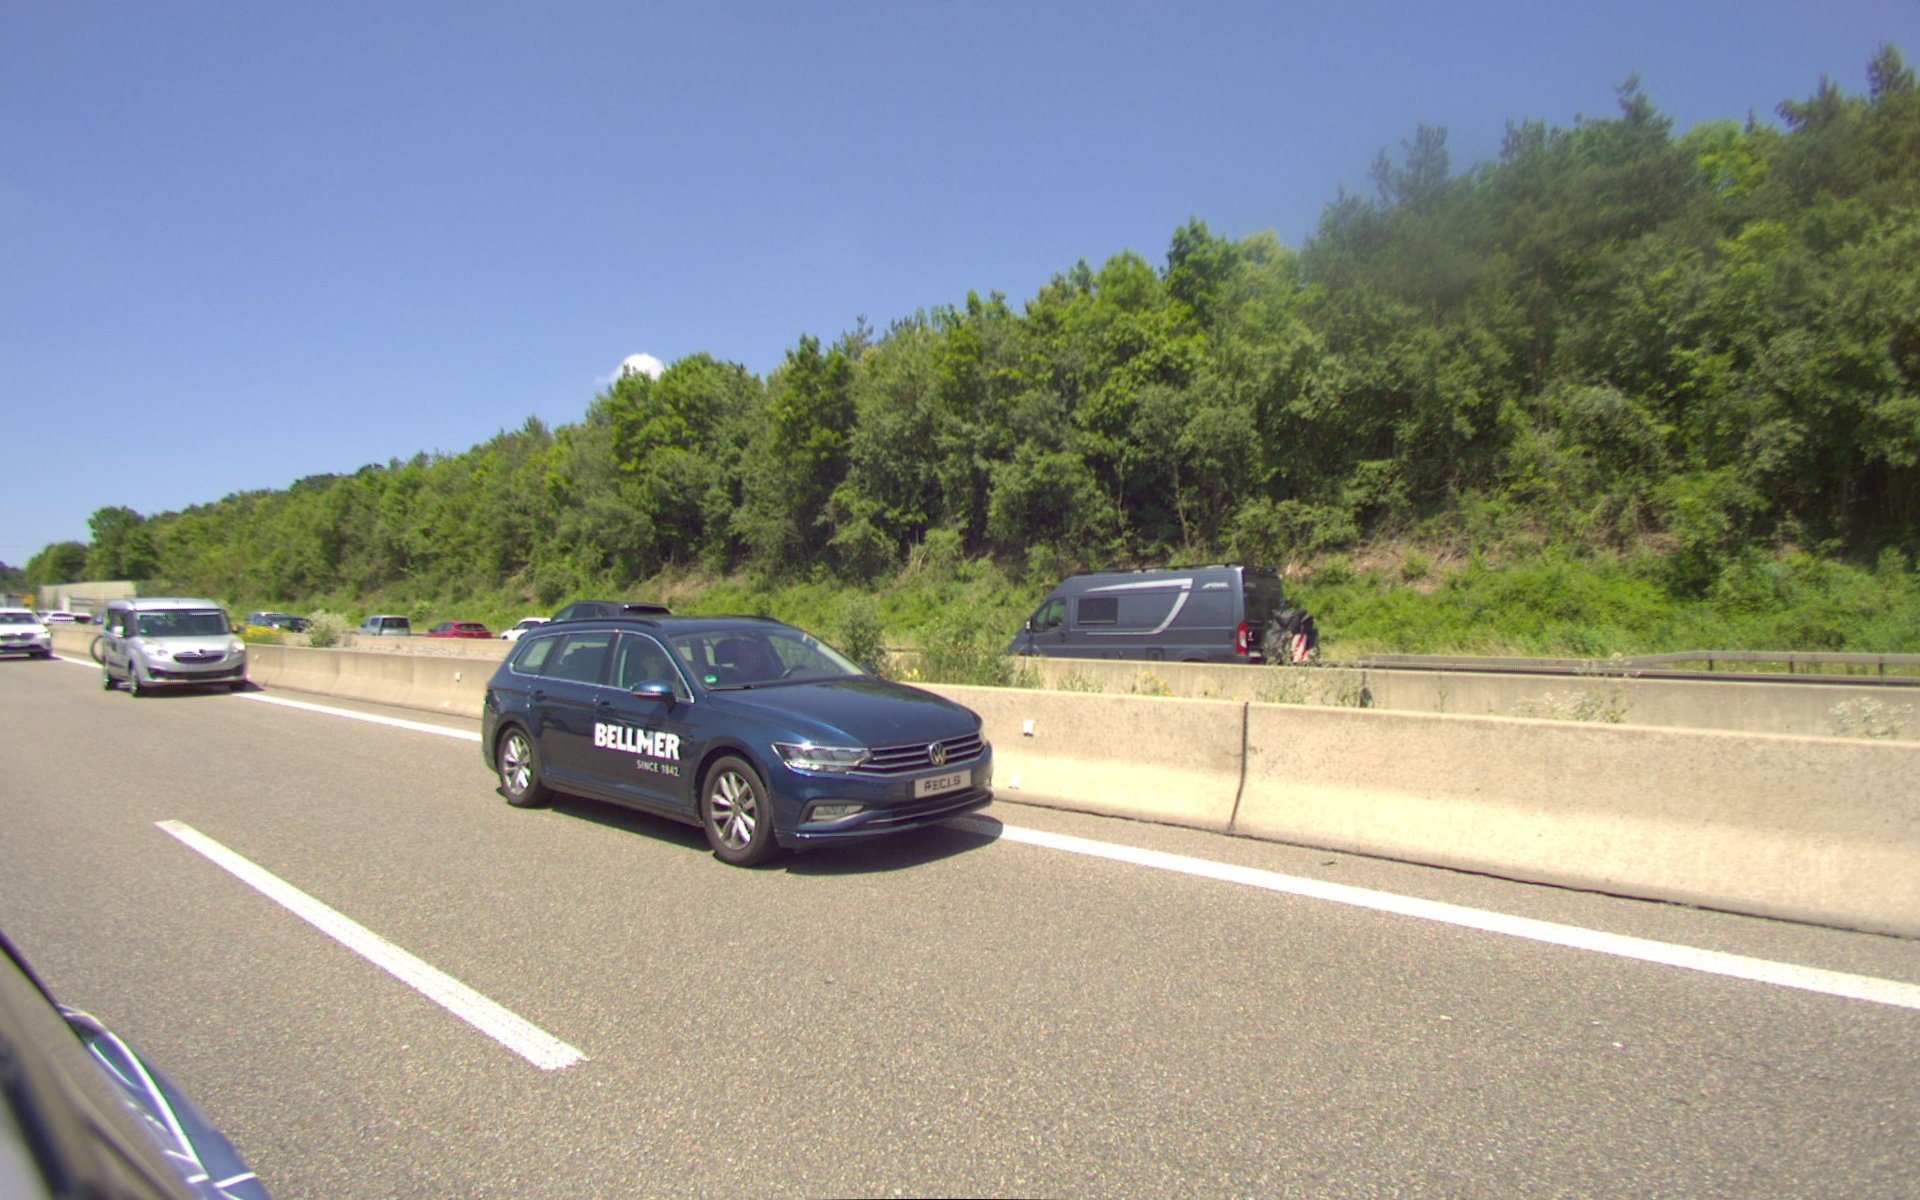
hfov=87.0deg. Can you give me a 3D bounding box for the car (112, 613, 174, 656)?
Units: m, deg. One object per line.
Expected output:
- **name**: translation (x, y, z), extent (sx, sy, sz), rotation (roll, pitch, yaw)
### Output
- **car**: translation (-42.074, 1.710, 52.073), extent (4.349, 2.029, 1.971), rotation (0, 0, 44)

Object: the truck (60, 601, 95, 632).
- **truck**: translation (-120.734, 2.240, 138.394), extent (7.988, 4.019, 2.664), rotation (0, 0, 42)

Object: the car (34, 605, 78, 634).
- **car**: translation (-68.616, 1.442, 76.810), extent (4.191, 2.029, 1.973), rotation (0, 0, 41)

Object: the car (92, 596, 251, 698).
- **car**: translation (-15.801, 0.820, 20.171), extent (4.919, 1.786, 1.832), rotation (0, 0, 44)

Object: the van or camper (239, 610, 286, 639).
- **van or camper**: translation (-53.563, 1.854, 77.692), extent (4.680, 2.029, 1.972), rotation (0, 0, 42)

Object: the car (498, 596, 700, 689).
- **car**: translation (-7.542, 0.880, 20.940), extent (4.511, 1.705, 1.973), rotation (-3, -3, 41)

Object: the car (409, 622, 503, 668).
- **car**: translation (-21.441, 1.858, 42.990), extent (4.511, 1.705, 1.973), rotation (0, 0, 41)

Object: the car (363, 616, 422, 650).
- **car**: translation (-36.954, 2.107, 65.880), extent (4.363, 2.029, 2.101), rotation (0, 0, 42)

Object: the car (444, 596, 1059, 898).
- **car**: translation (-1.745, 0.770, 7.189), extent (4.676, 1.461, 1.854), rotation (-2, -1, 42)

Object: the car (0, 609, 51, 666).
- **car**: translation (-31.256, 1.201, 33.140), extent (3.999, 1.719, 1.800), rotation (0, 0, 42)

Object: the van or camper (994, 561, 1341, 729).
- **van or camper**: translation (3.921, 0.748, 20.287), extent (6.650, 2.880, 2.132), rotation (0, 0, 41)

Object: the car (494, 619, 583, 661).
- **car**: translation (-19.466, 1.795, 46.634), extent (4.511, 1.705, 1.973), rotation (0, 0, 41)

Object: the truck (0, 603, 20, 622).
- **truck**: translation (-149.605, 1.948, 159.055), extent (6.739, 2.906, 2.155), rotation (0, 0, 41)

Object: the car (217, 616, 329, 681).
- **car**: translation (-24.188, 1.622, 35.560), extent (5.151, 2.029, 1.973), rotation (0, 0, 40)

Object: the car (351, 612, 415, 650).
- **car**: translation (-34.172, 1.798, 59.884), extent (4.471, 2.029, 1.973), rotation (0, 0, 41)
